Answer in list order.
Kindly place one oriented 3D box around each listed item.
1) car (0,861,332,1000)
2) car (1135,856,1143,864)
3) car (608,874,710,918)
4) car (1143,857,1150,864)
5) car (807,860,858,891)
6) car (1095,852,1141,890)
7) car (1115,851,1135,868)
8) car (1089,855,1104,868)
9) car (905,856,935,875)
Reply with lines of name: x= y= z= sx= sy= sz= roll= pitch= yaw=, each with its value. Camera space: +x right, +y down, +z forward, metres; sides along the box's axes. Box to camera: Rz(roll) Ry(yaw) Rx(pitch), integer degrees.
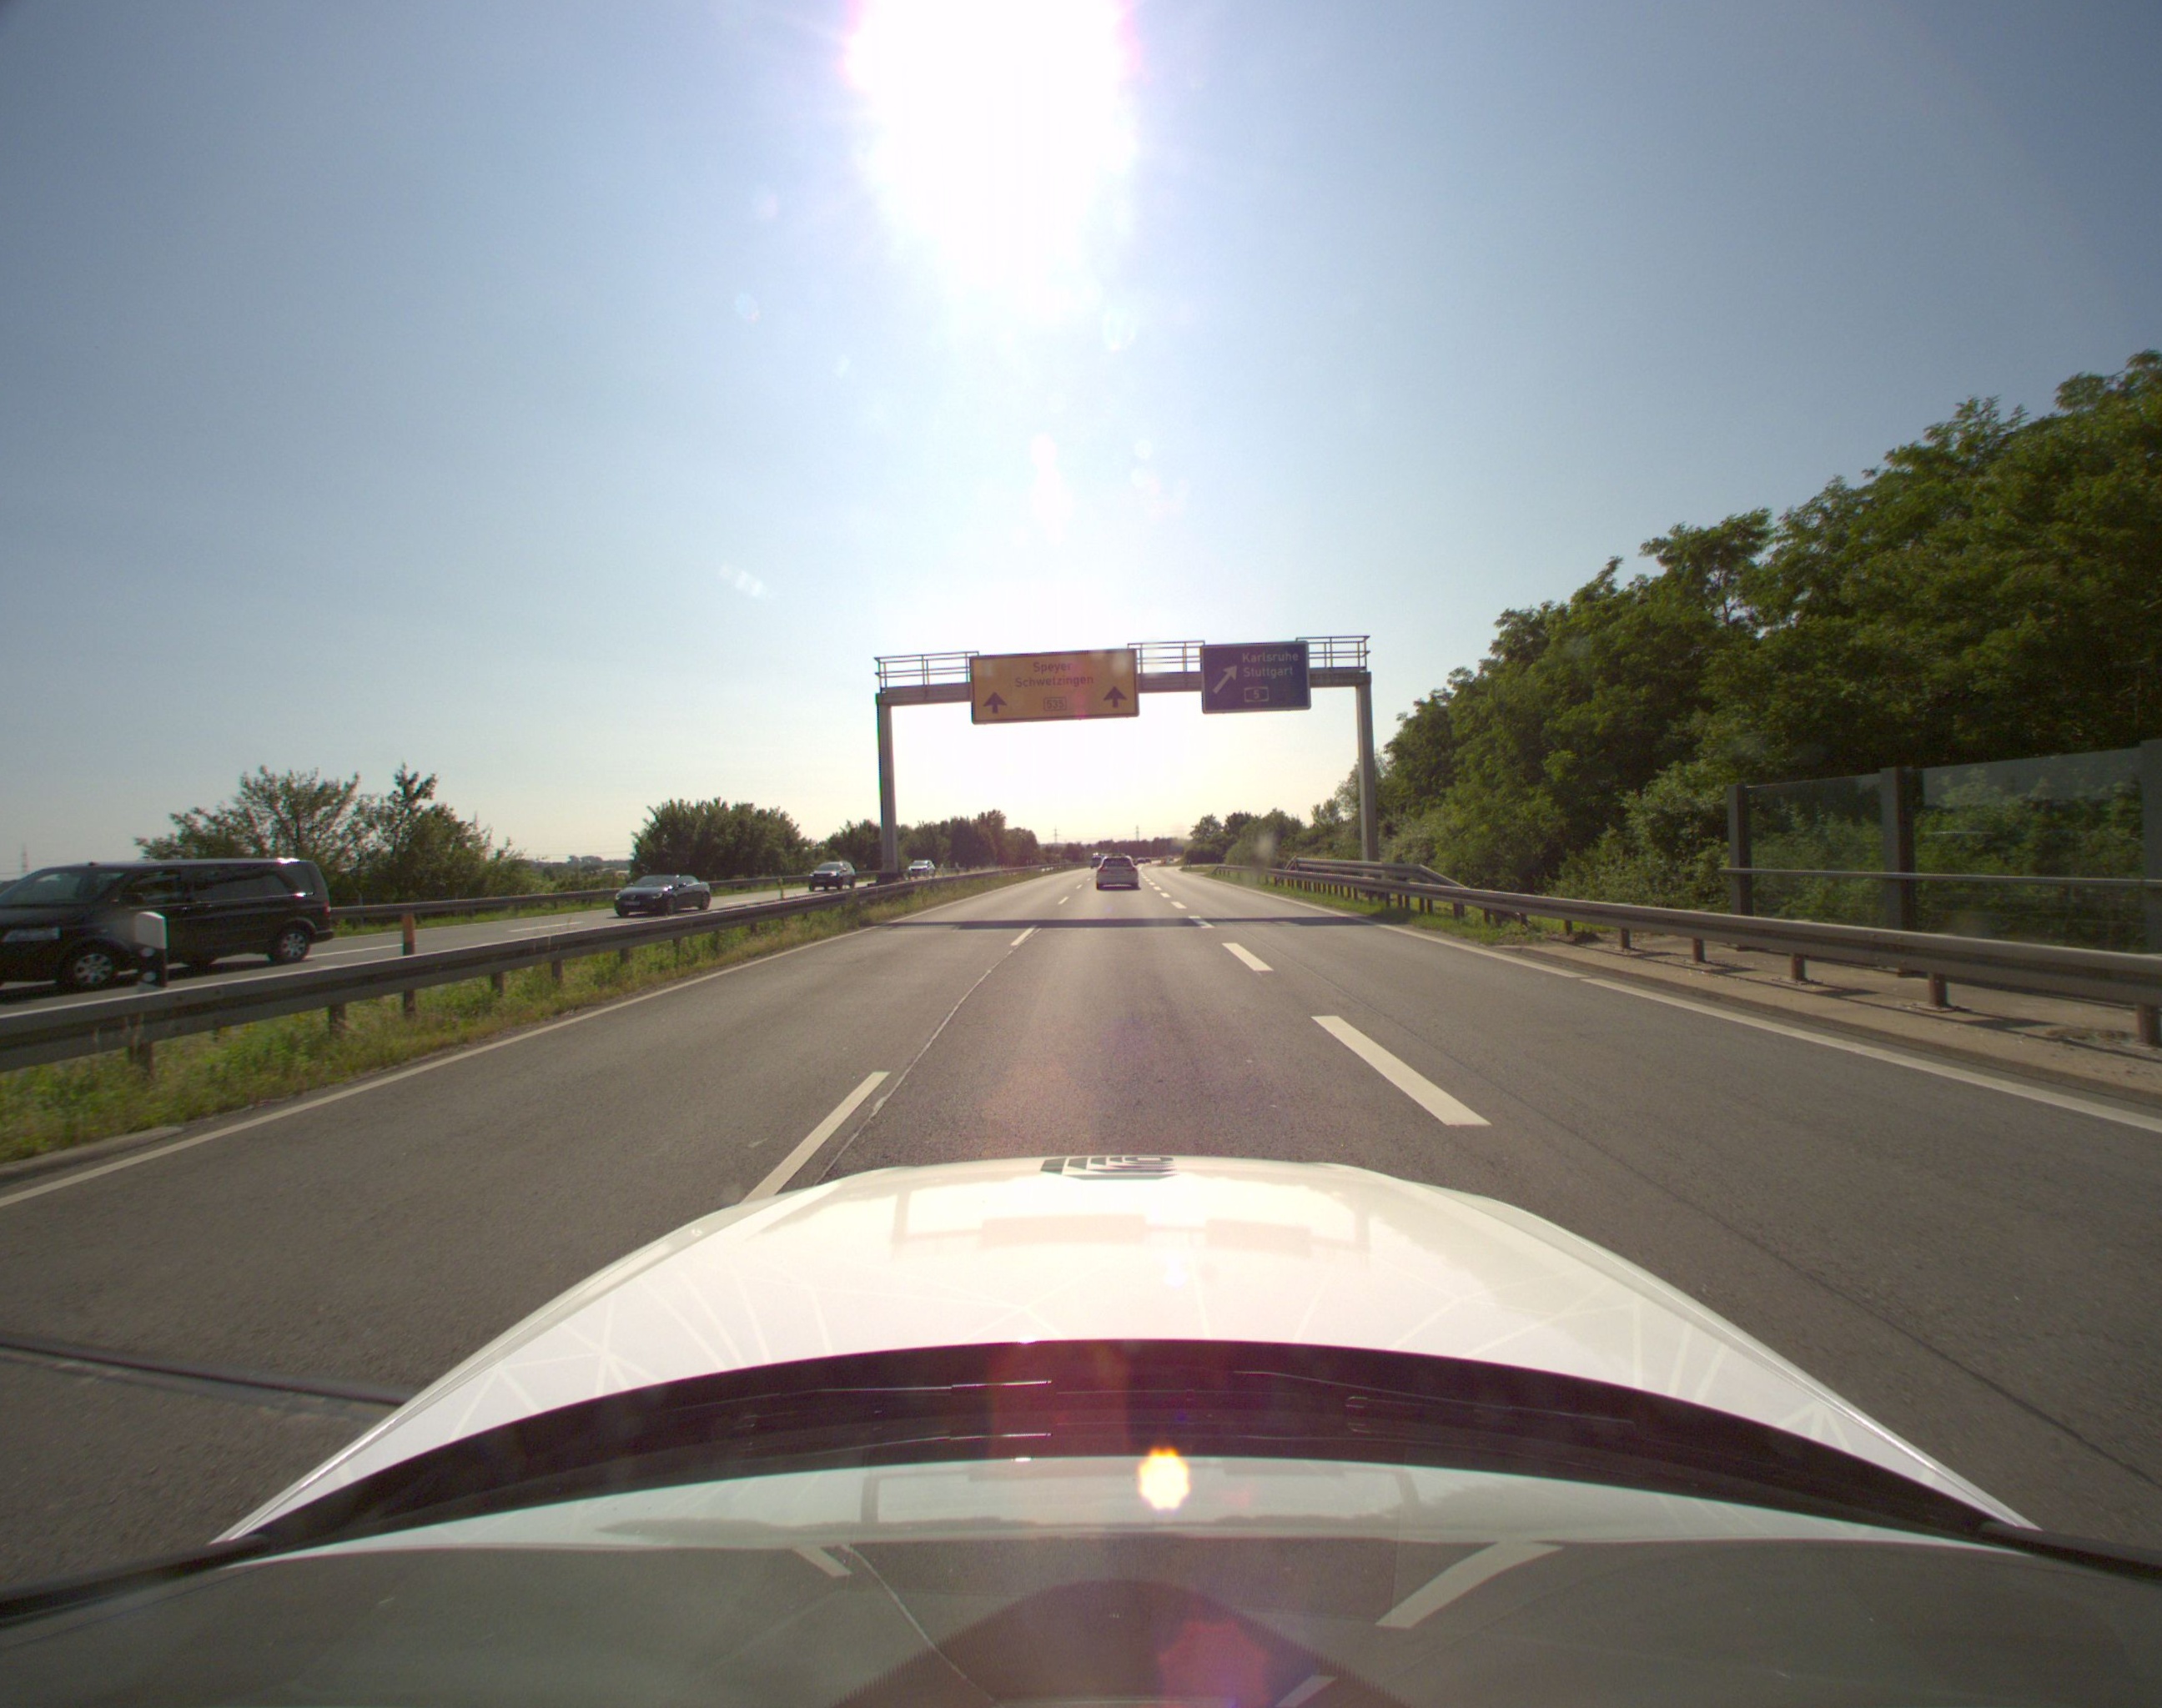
car: x=-15.663 y=1.120 z=13.696 sx=1.987 sy=1.906 sz=4.417 roll=-2 pitch=0 yaw=0
car: x=13.460 y=1.354 z=190.247 sx=1.833 sy=1.802 sz=4.004 roll=-1 pitch=-1 yaw=4
car: x=-14.568 y=1.422 z=28.353 sx=1.561 sy=1.270 sz=3.715 roll=-1 pitch=0 yaw=0
car: x=17.289 y=1.696 z=216.320 sx=1.833 sy=1.698 sz=4.004 roll=-1 pitch=-1 yaw=4
car: x=-14.477 y=1.229 z=47.634 sx=1.727 sy=1.617 sz=4.002 roll=-1 pitch=0 yaw=0
car: x=1.624 y=0.724 z=36.989 sx=1.951 sy=1.601 sz=4.108 roll=-1 pitch=0 yaw=1
car: x=4.089 y=0.510 z=76.479 sx=1.786 sy=1.543 sz=3.673 roll=-1 pitch=0 yaw=2
car: x=1.949 y=0.916 z=102.758 sx=1.787 sy=1.503 sz=4.042 roll=-1 pitch=0 yaw=0
car: x=-14.594 y=1.010 z=74.218 sx=1.896 sy=1.620 sz=4.627 roll=-1 pitch=0 yaw=-1
